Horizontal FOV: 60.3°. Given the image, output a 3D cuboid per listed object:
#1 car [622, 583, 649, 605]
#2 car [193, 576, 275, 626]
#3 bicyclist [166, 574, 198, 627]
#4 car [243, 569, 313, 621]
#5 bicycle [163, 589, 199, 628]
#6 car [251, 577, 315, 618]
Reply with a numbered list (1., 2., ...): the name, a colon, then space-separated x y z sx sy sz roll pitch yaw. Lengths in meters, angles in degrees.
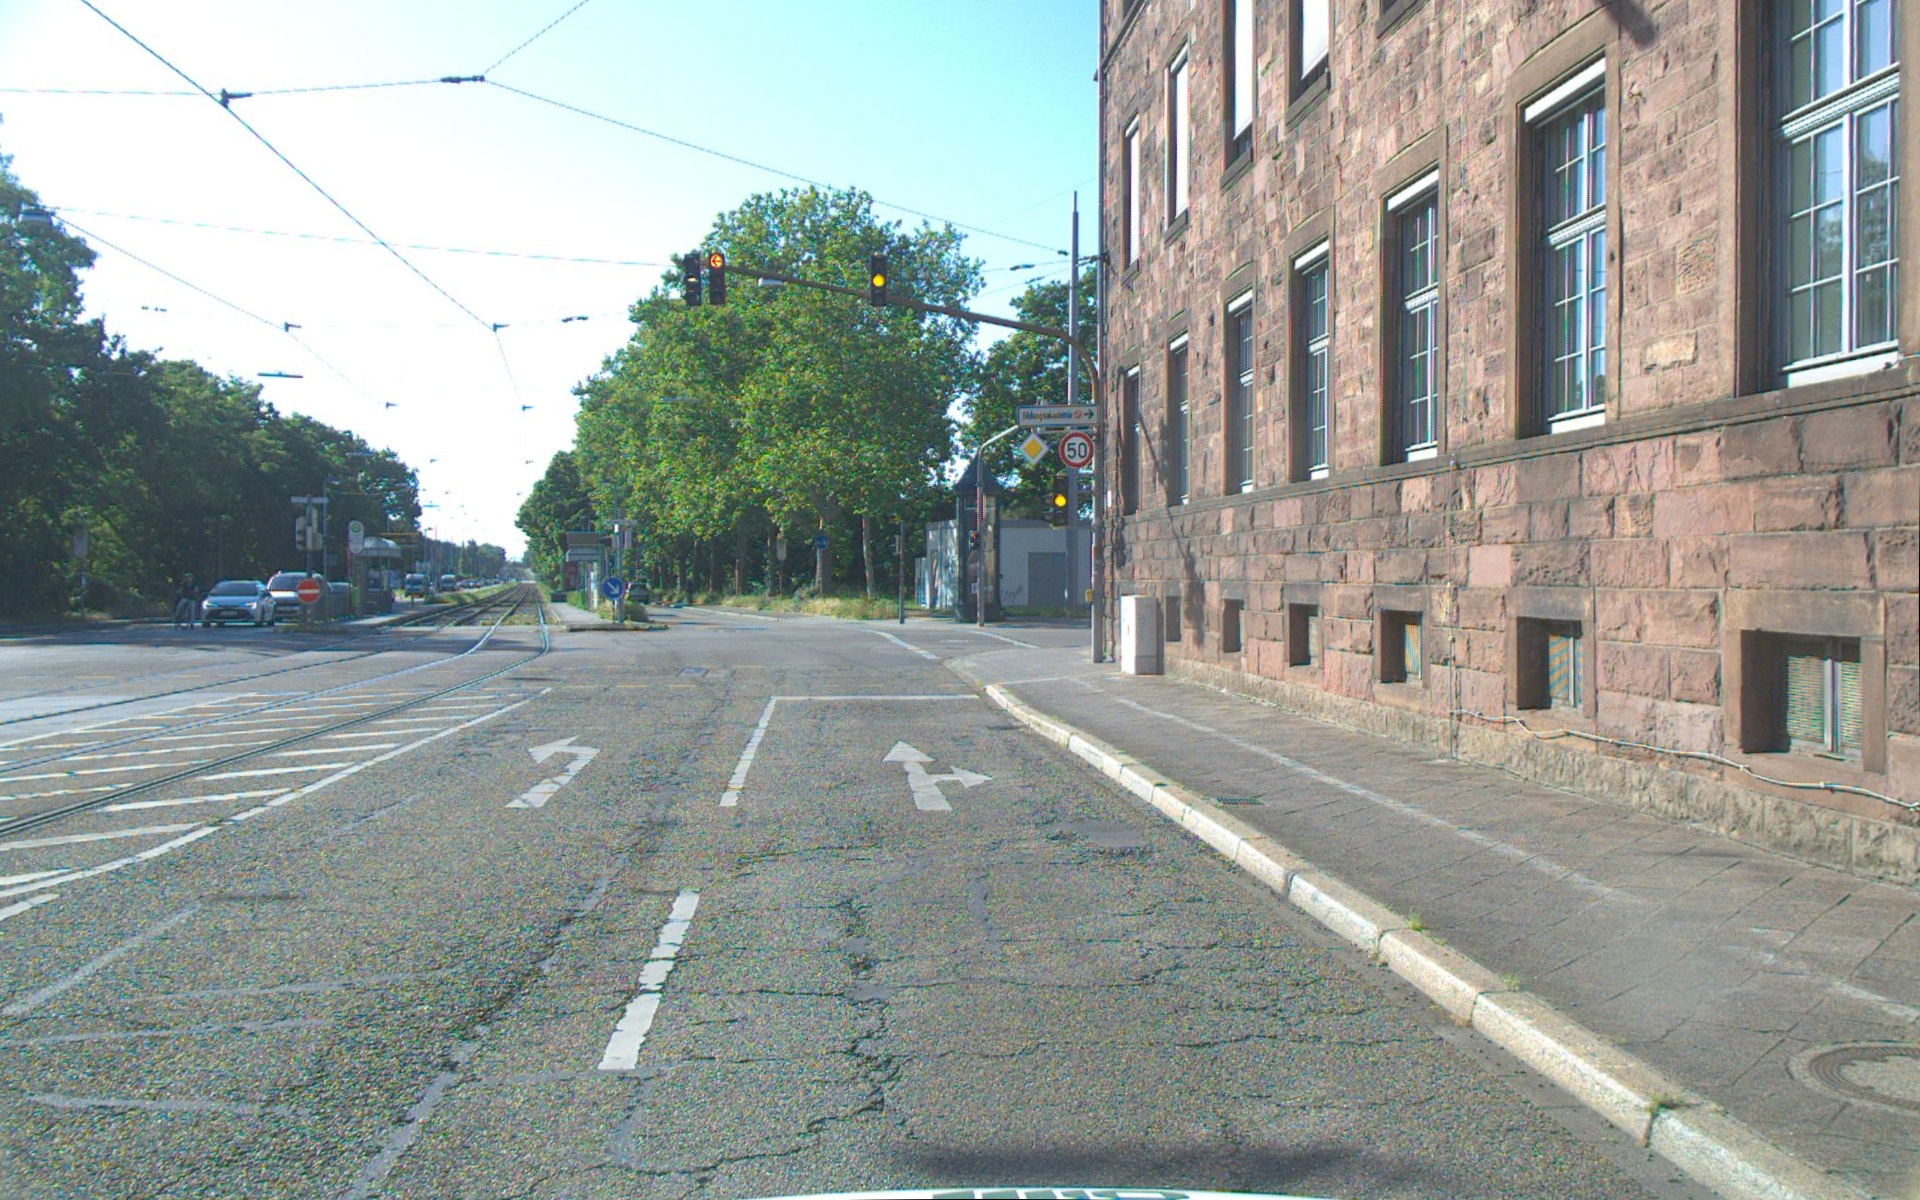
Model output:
1. car: -24.670 -0.465 125.950 1.907 1.638 3.991 0 0 -10
2. car: -22.930 0.004 52.379 1.963 1.530 3.980 0 0 -18
3. bicyclist: -22.891 0.011 48.670 0.738 1.530 0.959 0 0 -20
4. car: -24.168 -0.193 58.703 1.963 1.791 3.980 0 0 -18
5. bicycle: -22.878 0.228 48.624 0.738 1.106 2.164 0 0 -20
6. car: -25.896 -0.120 63.393 1.963 1.530 3.980 0 0 -18
